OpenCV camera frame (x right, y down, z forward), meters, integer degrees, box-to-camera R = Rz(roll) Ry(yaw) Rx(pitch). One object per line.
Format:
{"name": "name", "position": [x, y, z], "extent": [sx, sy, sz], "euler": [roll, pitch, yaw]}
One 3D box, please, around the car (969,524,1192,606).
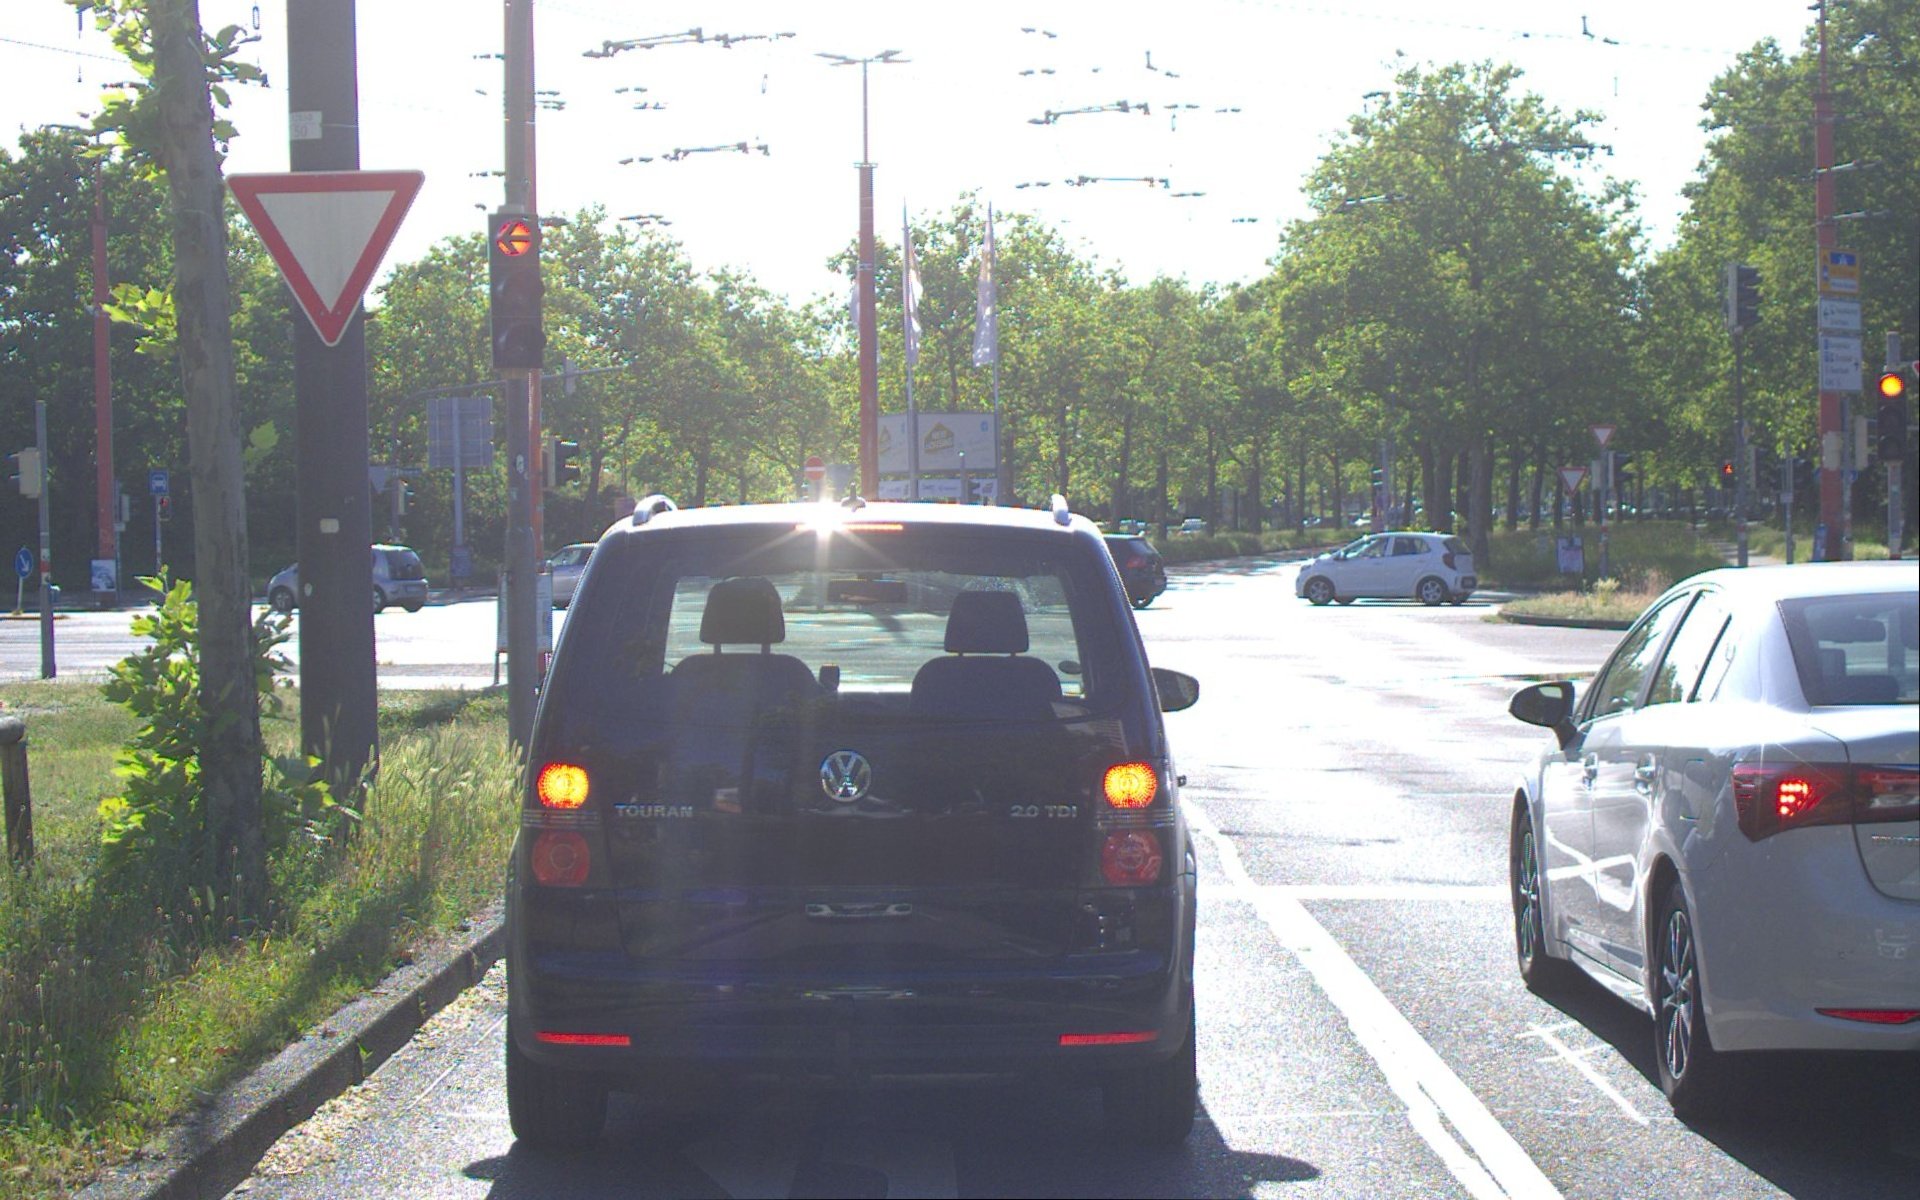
{"name": "car", "position": [2.420, -0.709, 68.927], "extent": [4.028, 1.590, 1.998], "euler": [0, 1, 23]}

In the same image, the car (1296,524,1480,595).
{"name": "car", "position": [8.658, -0.815, 69.618], "extent": [3.441, 1.364, 1.288], "euler": [1, 1, 26]}

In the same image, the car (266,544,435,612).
{"name": "car", "position": [-13.364, -0.485, 75.383], "extent": [3.398, 1.452, 1.463], "euler": [0, 1, 23]}

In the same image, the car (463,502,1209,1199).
{"name": "car", "position": [-0.312, 0.552, 9.831], "extent": [1.700, 1.616, 3.897], "euler": [0, 1, -1]}

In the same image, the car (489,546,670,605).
{"name": "car", "position": [-8.699, -0.558, 78.587], "extent": [3.834, 1.260, 1.601], "euler": [1, 1, 26]}

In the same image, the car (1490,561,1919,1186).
{"name": "car", "position": [2.716, 0.621, 10.114], "extent": [1.720, 1.433, 4.198], "euler": [1, 1, 1]}
